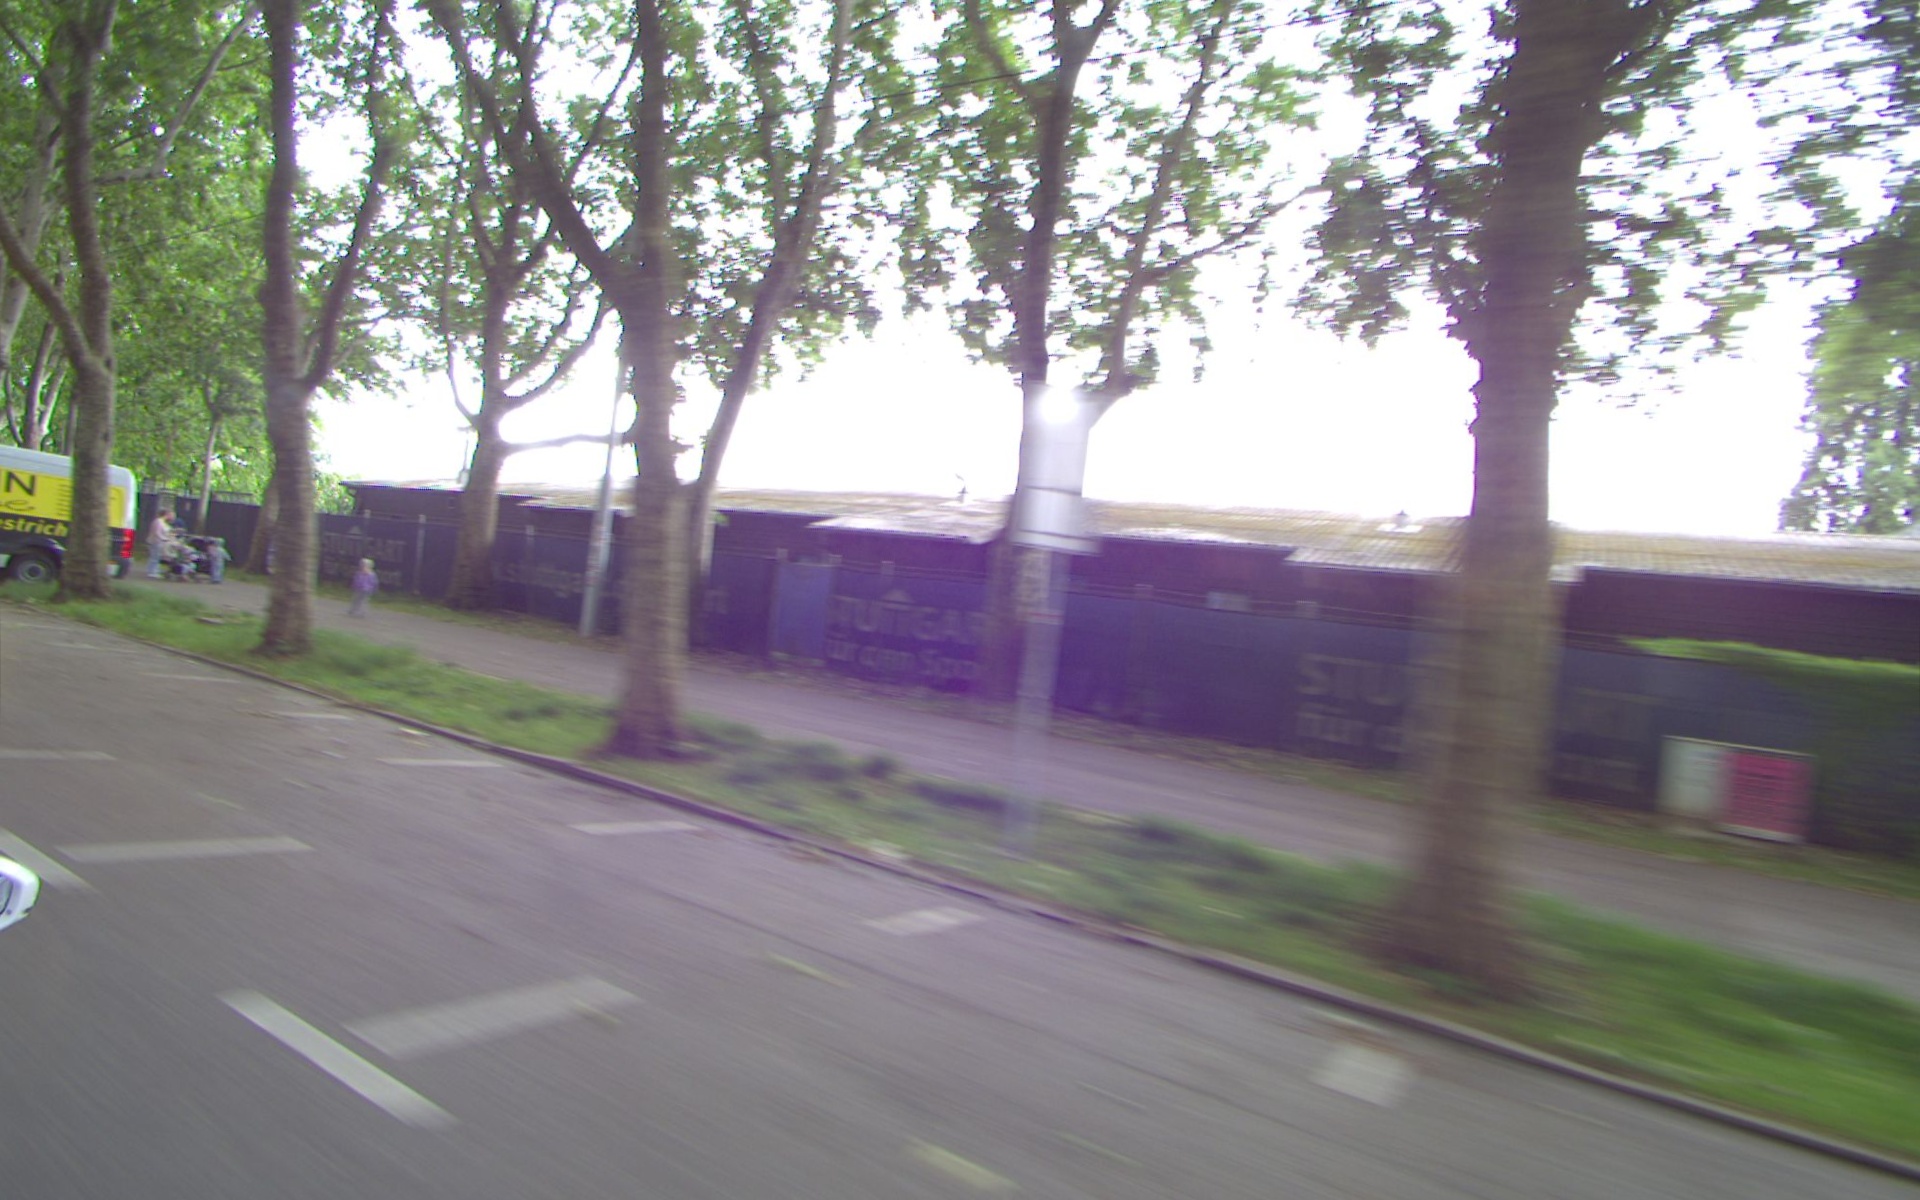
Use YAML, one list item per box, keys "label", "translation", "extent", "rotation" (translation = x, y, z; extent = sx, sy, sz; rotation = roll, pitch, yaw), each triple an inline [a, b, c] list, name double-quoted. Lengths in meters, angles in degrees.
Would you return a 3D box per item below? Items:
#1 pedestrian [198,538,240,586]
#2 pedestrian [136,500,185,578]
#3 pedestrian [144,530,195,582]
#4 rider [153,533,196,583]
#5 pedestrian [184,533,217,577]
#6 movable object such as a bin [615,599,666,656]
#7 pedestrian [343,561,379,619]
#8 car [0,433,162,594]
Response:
- label: "pedestrian"
  translation: [-17.966, -0.918, 24.379]
  extent: [0.579, 1.062, 0.592]
  rotation: [8, 2, 34]
- label: "pedestrian"
  translation: [-19.086, -1.451, 24.013]
  extent: [0.611, 1.763, 0.639]
  rotation: [8, 2, 34]
- label: "pedestrian"
  translation: [-18.440, -1.024, 23.480]
  extent: [0.665, 1.071, 0.640]
  rotation: [7, -2, 33]
- label: "rider"
  translation: [-18.207, -0.969, 23.326]
  extent: [0.579, 1.062, 0.592]
  rotation: [8, 2, 34]
- label: "pedestrian"
  translation: [-19.138, -1.126, 25.343]
  extent: [0.390, 1.046, 0.418]
  rotation: [8, -1, -9]
- label: "movable object such as a bin"
  translation: [-5.920, 0.502, 18.649]
  extent: [0.663, 0.972, 0.568]
  rotation: [7, 4, 31]
- label: "pedestrian"
  translation: [-11.900, -0.194, 19.983]
  extent: [0.412, 1.098, 0.395]
  rotation: [7, 2, 35]
- label: "car"
  translation: [-19.288, -1.949, 18.361]
  extent: [2.092, 2.725, 6.895]
  rotation: [7, -3, 32]
